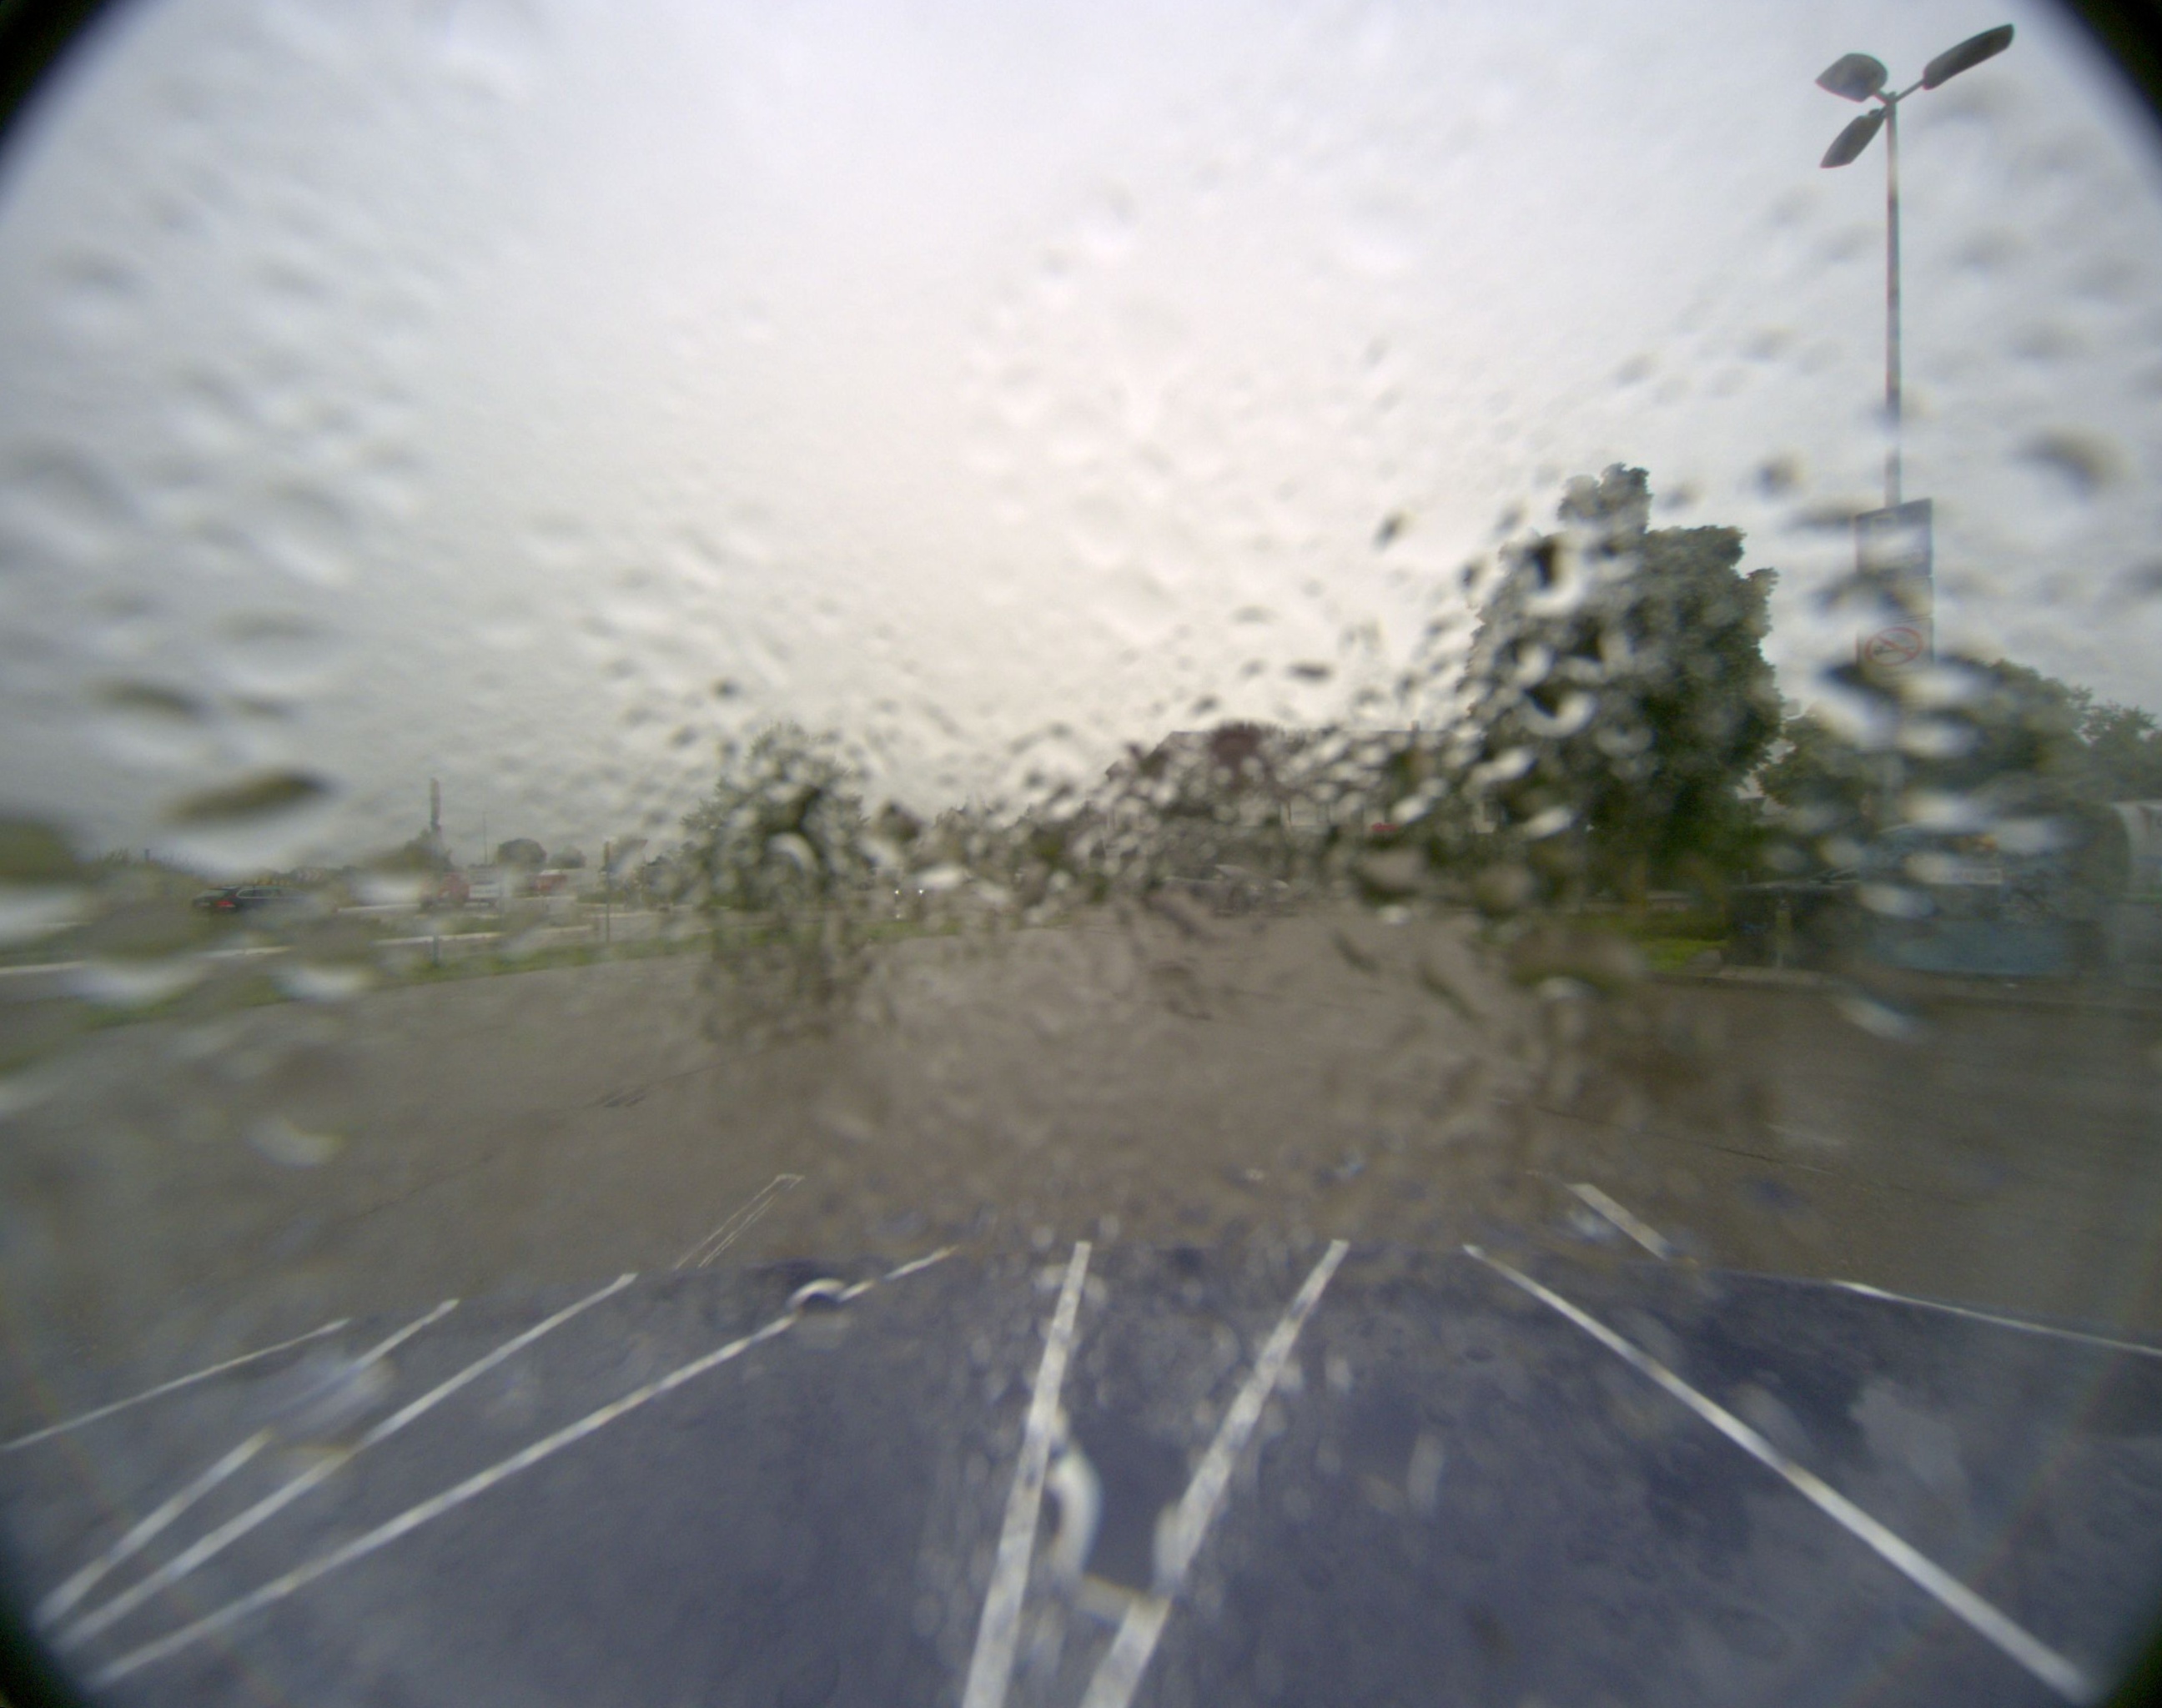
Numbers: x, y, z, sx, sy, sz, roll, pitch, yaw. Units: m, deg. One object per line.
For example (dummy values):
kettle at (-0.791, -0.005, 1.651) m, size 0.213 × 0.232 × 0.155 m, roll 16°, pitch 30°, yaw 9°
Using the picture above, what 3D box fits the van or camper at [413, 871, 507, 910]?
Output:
van or camper at (-34.957, 2.032, 42.974) m, size 2.000 × 2.001 × 4.843 m, roll 1°, pitch -1°, yaw -10°

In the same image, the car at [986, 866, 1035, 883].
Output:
car at (-6.444, 1.834, 69.588) m, size 4.358 × 1.416 × 1.850 m, roll -2°, pitch -1°, yaw -2°

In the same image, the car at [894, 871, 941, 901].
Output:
car at (-9.170, 1.770, 42.941) m, size 1.705 × 1.416 × 4.359 m, roll -3°, pitch 1°, yaw -1°

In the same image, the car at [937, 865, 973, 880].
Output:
car at (-14.115, 2.115, 85.148) m, size 3.878 × 1.560 × 1.753 m, roll -3°, pitch -1°, yaw 39°

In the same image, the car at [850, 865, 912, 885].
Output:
car at (-19.305, 2.022, 73.593) m, size 5.374 × 1.711 × 2.000 m, roll -2°, pitch -1°, yaw -1°

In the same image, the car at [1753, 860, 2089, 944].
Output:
car at (16.850, 0.887, 15.513) m, size 1.873 × 1.440 × 4.319 m, roll 0°, pitch -1°, yaw -32°

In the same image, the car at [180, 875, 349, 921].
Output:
car at (-34.354, 1.810, 32.185) m, size 1.998 × 1.593 × 4.526 m, roll -2°, pitch 0°, yaw 5°

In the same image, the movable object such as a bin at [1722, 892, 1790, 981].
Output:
movable object such as a bin at (7.615, 0.922, 8.589) m, size 0.434 × 0.943 × 0.474 m, roll -2°, pitch 0°, yaw 25°

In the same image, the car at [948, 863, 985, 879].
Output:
car at (-13.217, 1.928, 87.433) m, size 3.989 × 1.717 × 1.994 m, roll -3°, pitch -1°, yaw 38°

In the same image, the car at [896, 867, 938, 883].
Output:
car at (-17.597, 2.284, 81.352) m, size 4.636 × 1.541 × 2.004 m, roll -3°, pitch -1°, yaw 41°

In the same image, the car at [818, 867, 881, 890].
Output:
car at (-19.352, 2.027, 63.580) m, size 4.606 × 1.711 × 2.000 m, roll -2°, pitch -1°, yaw -1°

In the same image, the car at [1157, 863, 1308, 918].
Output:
car at (4.714, 1.131, 24.229) m, size 2.004 × 1.565 × 4.489 m, roll 0°, pitch -1°, yaw -38°

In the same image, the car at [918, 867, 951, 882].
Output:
car at (-16.059, 2.300, 83.340) m, size 3.716 × 1.540 × 1.670 m, roll -3°, pitch -1°, yaw 44°

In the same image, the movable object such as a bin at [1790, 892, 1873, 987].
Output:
movable object such as a bin at (7.985, 0.898, 8.097) m, size 0.405 × 0.943 × 0.450 m, roll -2°, pitch 0°, yaw 1°
